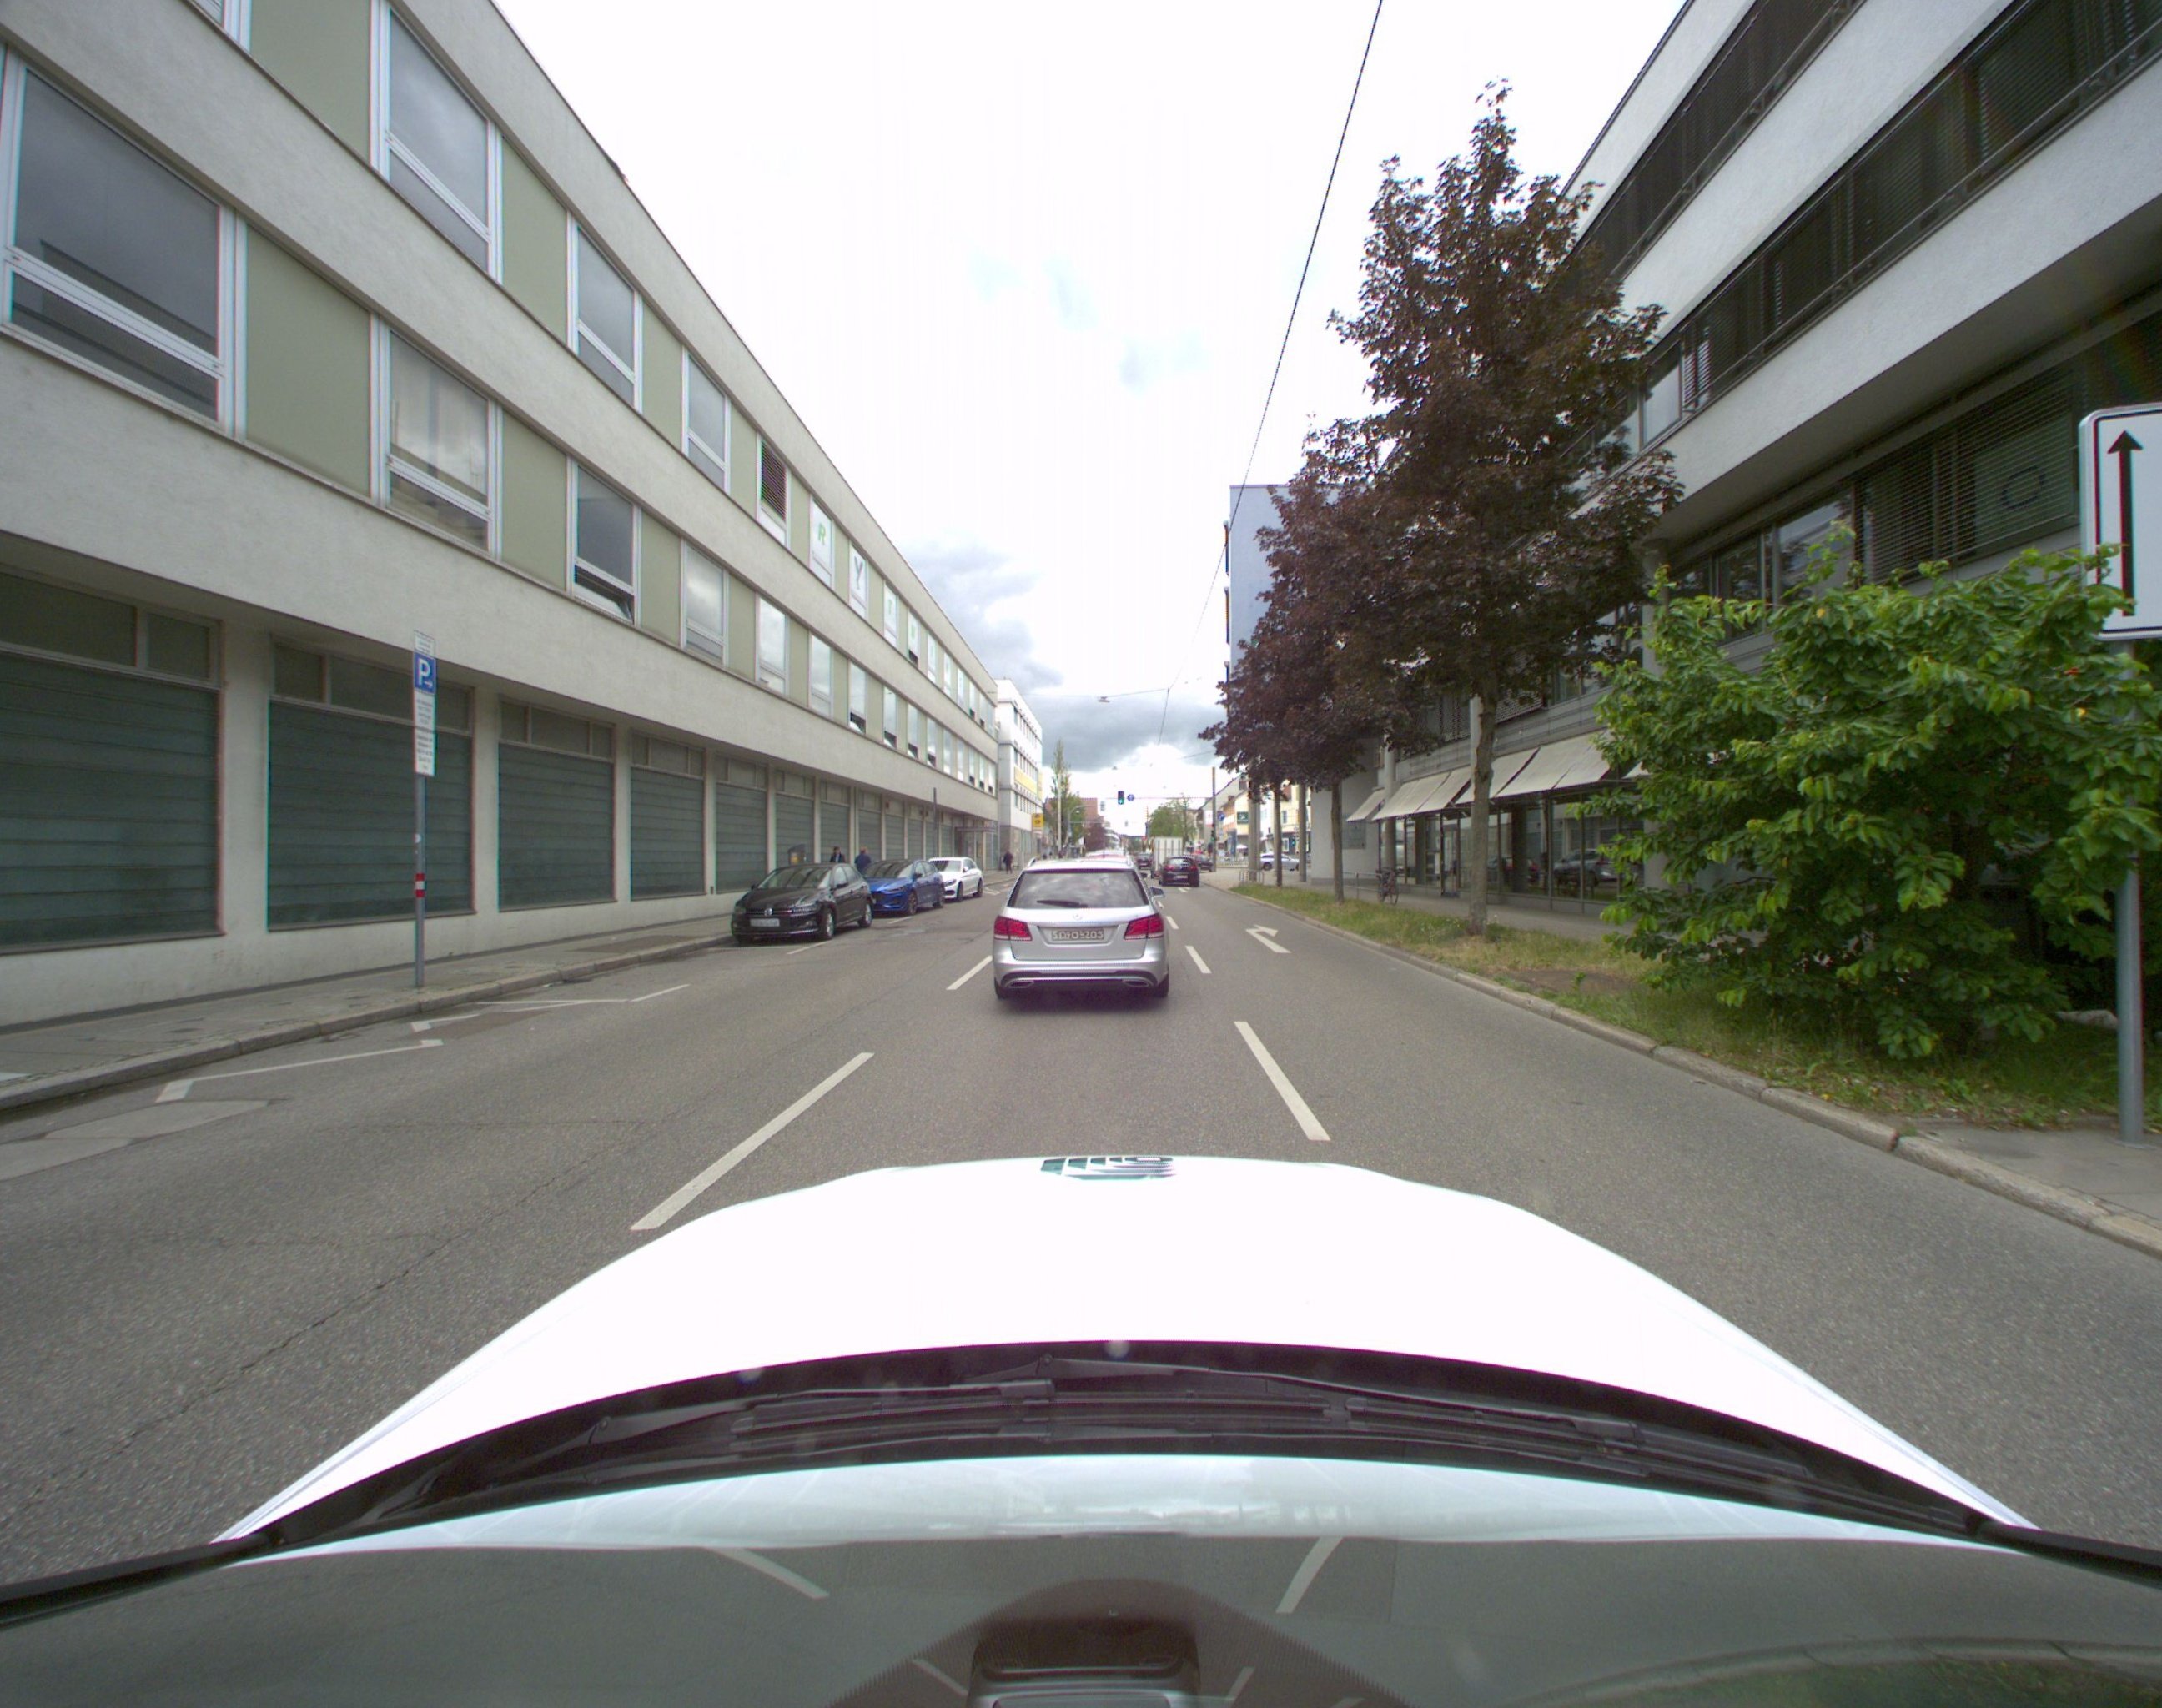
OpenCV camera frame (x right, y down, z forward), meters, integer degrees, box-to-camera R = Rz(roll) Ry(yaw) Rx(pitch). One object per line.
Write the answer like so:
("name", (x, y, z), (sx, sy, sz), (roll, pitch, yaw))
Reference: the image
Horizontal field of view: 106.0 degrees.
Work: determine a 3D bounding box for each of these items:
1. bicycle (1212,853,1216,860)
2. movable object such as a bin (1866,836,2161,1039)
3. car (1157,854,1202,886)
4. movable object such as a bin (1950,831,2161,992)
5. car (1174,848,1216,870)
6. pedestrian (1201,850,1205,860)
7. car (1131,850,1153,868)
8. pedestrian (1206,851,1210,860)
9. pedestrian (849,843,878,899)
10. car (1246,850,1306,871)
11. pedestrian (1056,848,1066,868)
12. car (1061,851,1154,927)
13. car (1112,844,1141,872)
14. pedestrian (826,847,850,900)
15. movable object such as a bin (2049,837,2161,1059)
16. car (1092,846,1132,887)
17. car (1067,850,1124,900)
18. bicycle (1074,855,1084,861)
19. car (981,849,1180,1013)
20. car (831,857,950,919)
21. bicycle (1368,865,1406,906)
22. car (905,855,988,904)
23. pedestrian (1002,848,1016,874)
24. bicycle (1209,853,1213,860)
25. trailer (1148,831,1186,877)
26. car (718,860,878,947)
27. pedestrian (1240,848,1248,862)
("bicycle", (20.698, 0.346, 126.695), (0.446, 1.107, 2.152), (-1, 0, 4))
("movable object such as a bin", (7.744, 0.616, 6.735), (1.123, 1.465, 1.413), (-2, 0, 1))
("car", (4.658, 0.734, 38.890), (1.728, 1.410, 4.001), (-1, 0, 1))
("movable object such as a bin", (10.072, 0.528, 8.230), (1.118, 1.465, 1.333), (-2, 0, 1))
("car", (8.876, 0.376, 63.204), (1.904, 1.670, 3.822), (-1, 0, 31))
("pedestrian", (19.750, 0.139, 131.753), (0.577, 1.666, 0.649), (1, 0, -7))
("car", (5.250, 0.410, 70.256), (1.728, 1.410, 4.001), (-1, 0, 1))
("pedestrian", (20.131, 0.195, 128.698), (0.575, 1.469, 0.652), (1, 0, 6))
("pedestrian", (-6.824, 0.530, 25.537), (0.587, 1.718, 1.055), (-1, 0, 1))
("car", (16.159, 0.543, 67.615), (4.549, 1.605, 1.733), (2, 0, -13))
("pedestrian", (-1.690, 0.328, 69.801), (0.643, 1.718, 0.785), (1, 0, 10))
("car", (0.715, 0.697, 18.345), (1.725, 1.508, 4.008), (-1, 0, 7))
("car", (2.985, 0.251, 54.129), (1.821, 1.785, 4.002), (-1, 0, 2))
("pedestrian", (-7.984, 0.624, 26.769), (0.587, 1.718, 0.650), (-1, 0, 1))
("movable object such as a bin", (7.727, 0.615, 5.362), (1.094, 1.465, 1.333), (-2, 0, 1))
("car", (1.415, 0.526, 37.513), (1.728, 1.759, 4.001), (-1, 0, 1))
("car", (0.484, 0.632, 27.011), (1.728, 1.508, 4.001), (-1, 0, 1))
("bicycle", (-0.386, 0.738, 153.173), (1.935, 1.029, 0.529), (1, 0, -7))
("car", (0.045, 0.708, 9.662), (1.839, 1.508, 4.172), (-1, 0, 1))
("car", (-4.989, 0.839, 21.982), (1.806, 1.426, 4.270), (-2, 0, 5))
("bicycle", (8.746, 0.870, 23.338), (0.359, 1.086, 2.028), (1, 0, 1))
("car", (-4.500, 0.812, 27.908), (1.662, 1.434, 4.559), (-2, 0, 5))
("pedestrian", (-5.003, 0.478, 56.514), (0.858, 1.718, 1.032), (1, 0, 1))
("bicycle", (20.251, 0.358, 126.719), (0.446, 1.091, 2.152), (-1, 0, 4))
("trailer", (5.193, -0.003, 49.518), (1.871, 2.613, 4.324), (2, 0, 1))
("car", (-5.426, 0.873, 16.172), (1.710, 1.425, 3.871), (-2, 0, 1))
("pedestrian", (20.138, 0.086, 100.586), (0.641, 1.718, 0.709), (-1, 0, 42))
